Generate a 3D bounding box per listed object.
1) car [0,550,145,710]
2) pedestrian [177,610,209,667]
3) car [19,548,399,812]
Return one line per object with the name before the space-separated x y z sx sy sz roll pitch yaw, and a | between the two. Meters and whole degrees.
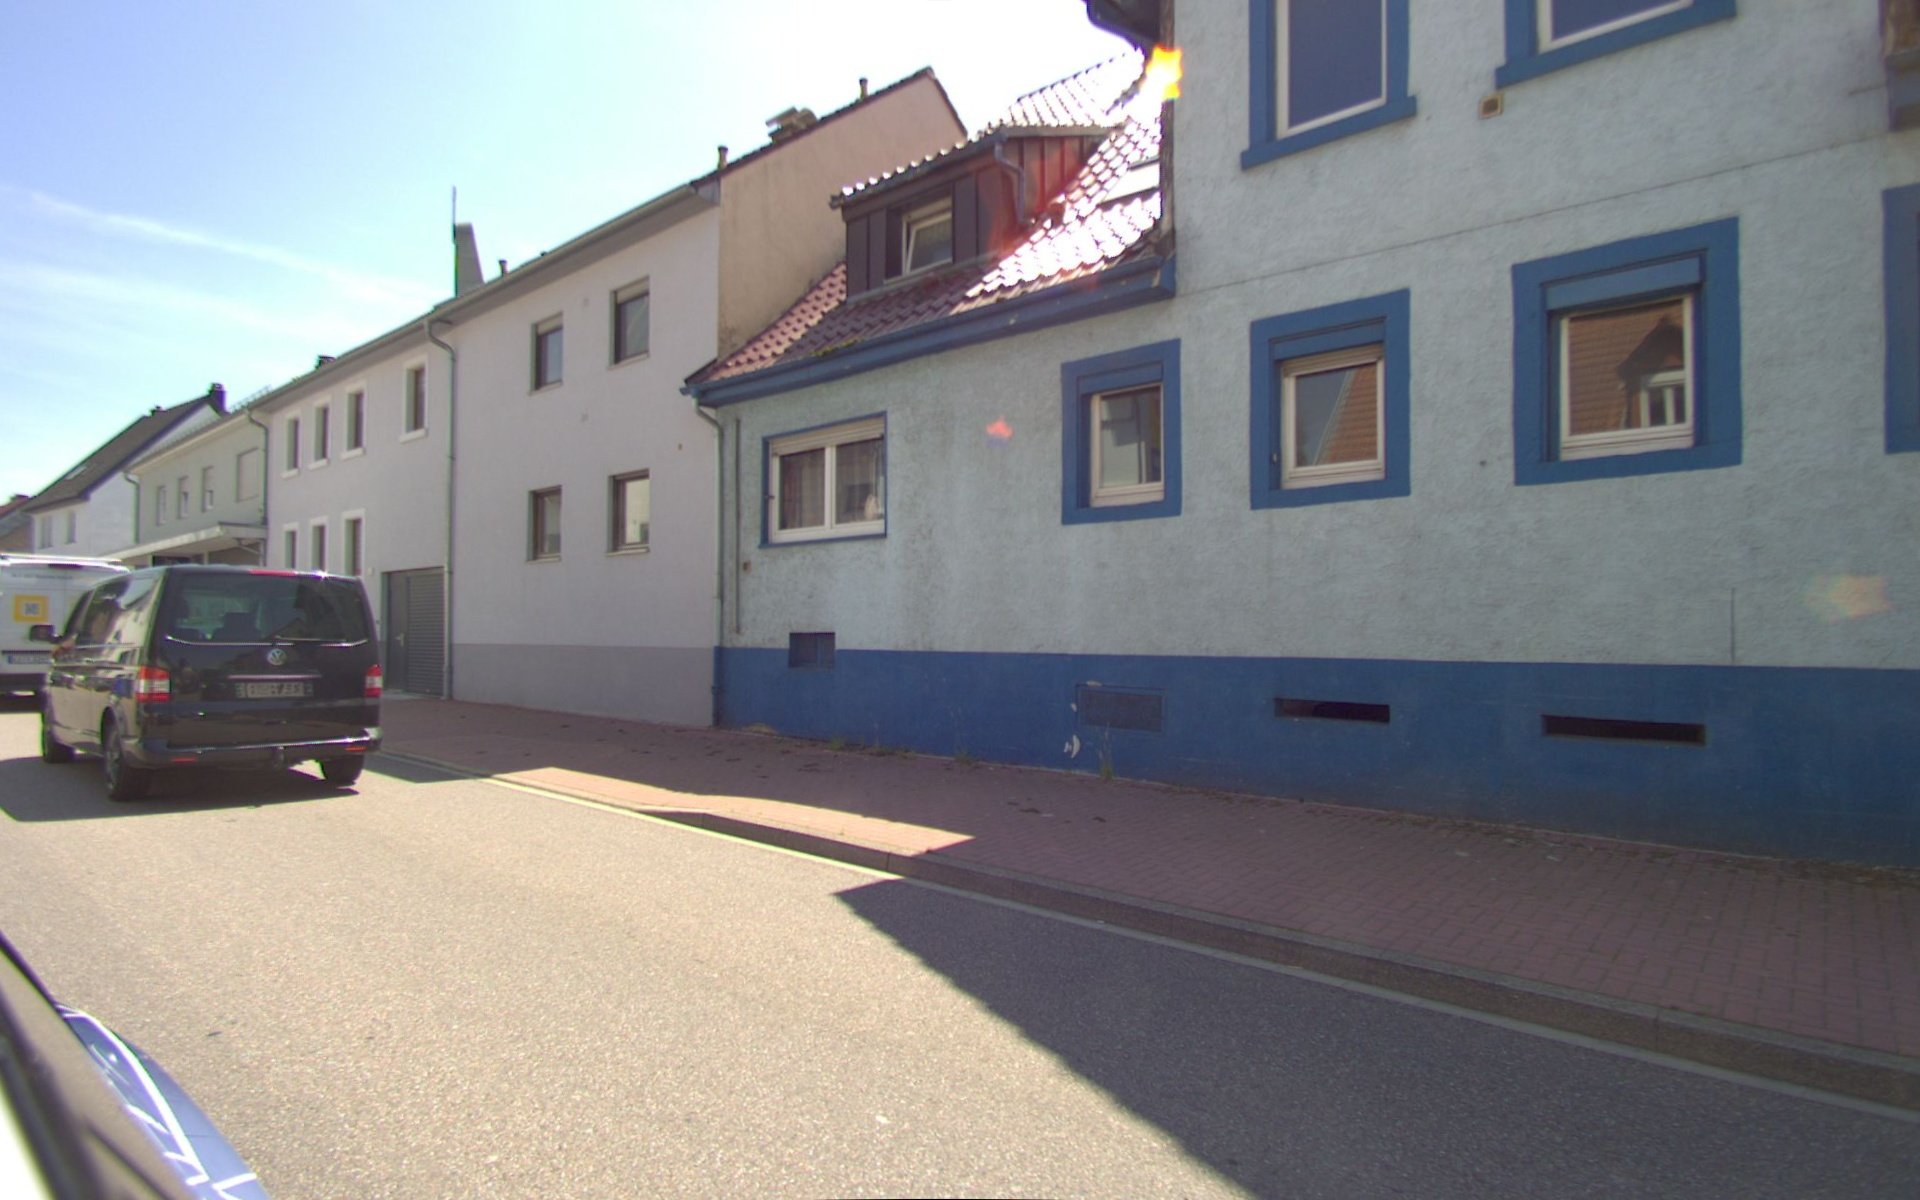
car | -16.937 0.559 18.492 5.457 2.562 2.103 -2 -3 40
pedestrian | -23.483 1.164 30.974 0.770 1.697 0.618 -1 -1 40
car | -7.519 0.669 9.900 5.115 1.958 1.861 -1 -3 41
